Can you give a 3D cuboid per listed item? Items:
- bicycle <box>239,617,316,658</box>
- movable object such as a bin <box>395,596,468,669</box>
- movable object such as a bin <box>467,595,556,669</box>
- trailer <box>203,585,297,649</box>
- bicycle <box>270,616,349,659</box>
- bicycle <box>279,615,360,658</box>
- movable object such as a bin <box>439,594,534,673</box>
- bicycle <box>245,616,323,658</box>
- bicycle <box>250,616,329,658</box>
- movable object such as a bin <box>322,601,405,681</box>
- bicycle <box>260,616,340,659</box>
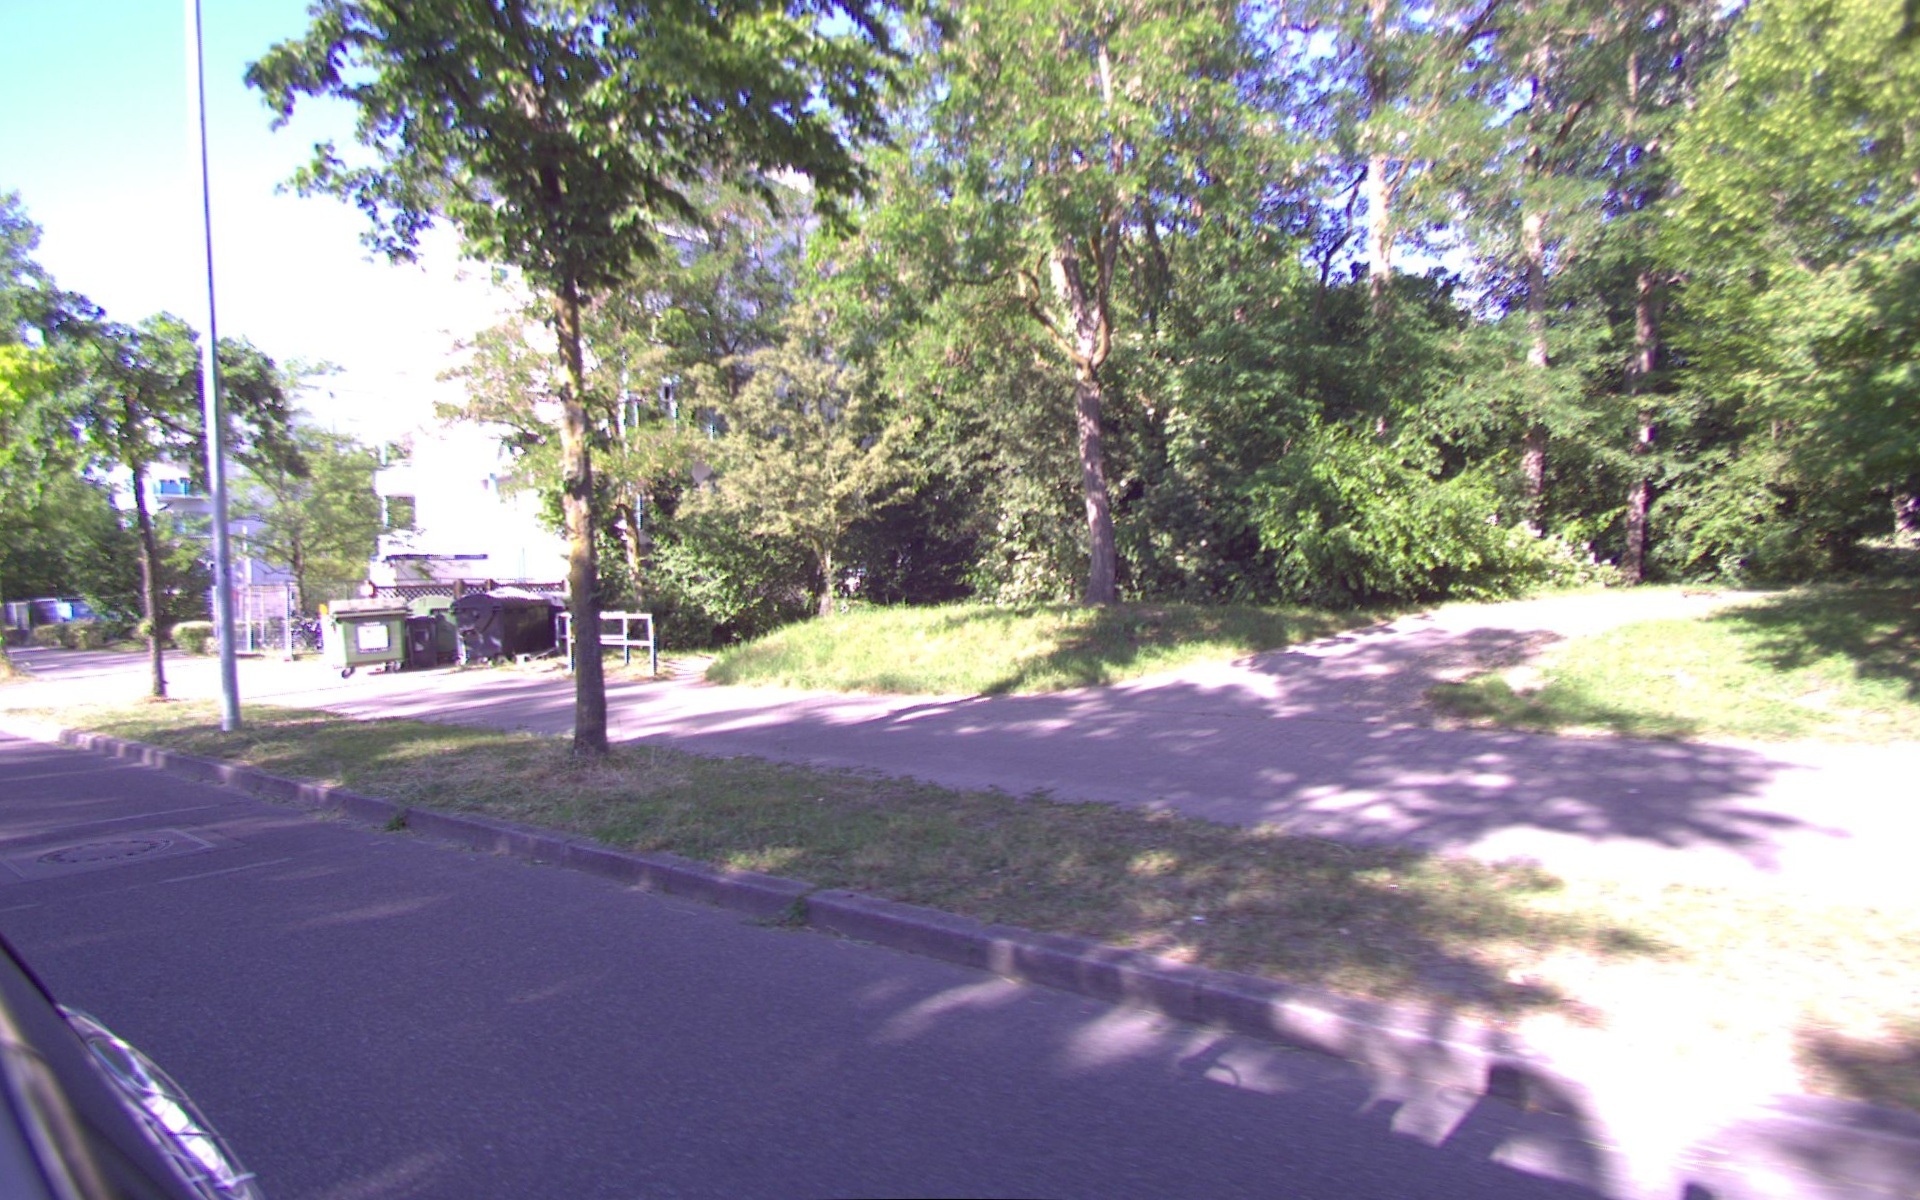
[{"bbox_3d":[-19.294,1.041,28.654,0.398,1.034,1.859,-1,1,25],"label":"bicycle"},{"bbox_3d":[-11.237,0.670,21.569,1.251,1.446,1.330,-2,0,-24],"label":"movable object such as a bin"},{"bbox_3d":[-9.213,0.640,20.836,1.257,1.446,1.143,-2,0,5],"label":"movable object such as a bin"},{"bbox_3d":[-26.405,0.624,37.584,4.345,2.136,1.844,-2,3,42],"label":"trailer"},{"bbox_3d":[-17.482,0.985,27.228,0.398,1.034,1.828,-1,1,25],"label":"bicycle"},{"bbox_3d":[-17.061,0.952,27.013,0.398,1.034,1.904,-1,1,25],"label":"bicycle"},{"bbox_3d":[-9.197,0.628,19.703,1.257,1.446,1.143,-2,0,5],"label":"movable object such as a bin"},{"bbox_3d":[-18.644,1.009,27.960,0.398,1.034,1.845,-1,1,25],"label":"bicycle"},{"bbox_3d":[-18.291,1.004,27.643,0.398,1.034,1.828,-1,1,25],"label":"bicycle"},{"bbox_3d":[-11.457,0.764,19.435,1.252,1.446,1.184,-2,0,-35],"label":"movable object such as a bin"},{"bbox_3d":[-17.856,0.996,27.434,0.398,1.034,1.849,-1,1,25],"label":"bicycle"}]
